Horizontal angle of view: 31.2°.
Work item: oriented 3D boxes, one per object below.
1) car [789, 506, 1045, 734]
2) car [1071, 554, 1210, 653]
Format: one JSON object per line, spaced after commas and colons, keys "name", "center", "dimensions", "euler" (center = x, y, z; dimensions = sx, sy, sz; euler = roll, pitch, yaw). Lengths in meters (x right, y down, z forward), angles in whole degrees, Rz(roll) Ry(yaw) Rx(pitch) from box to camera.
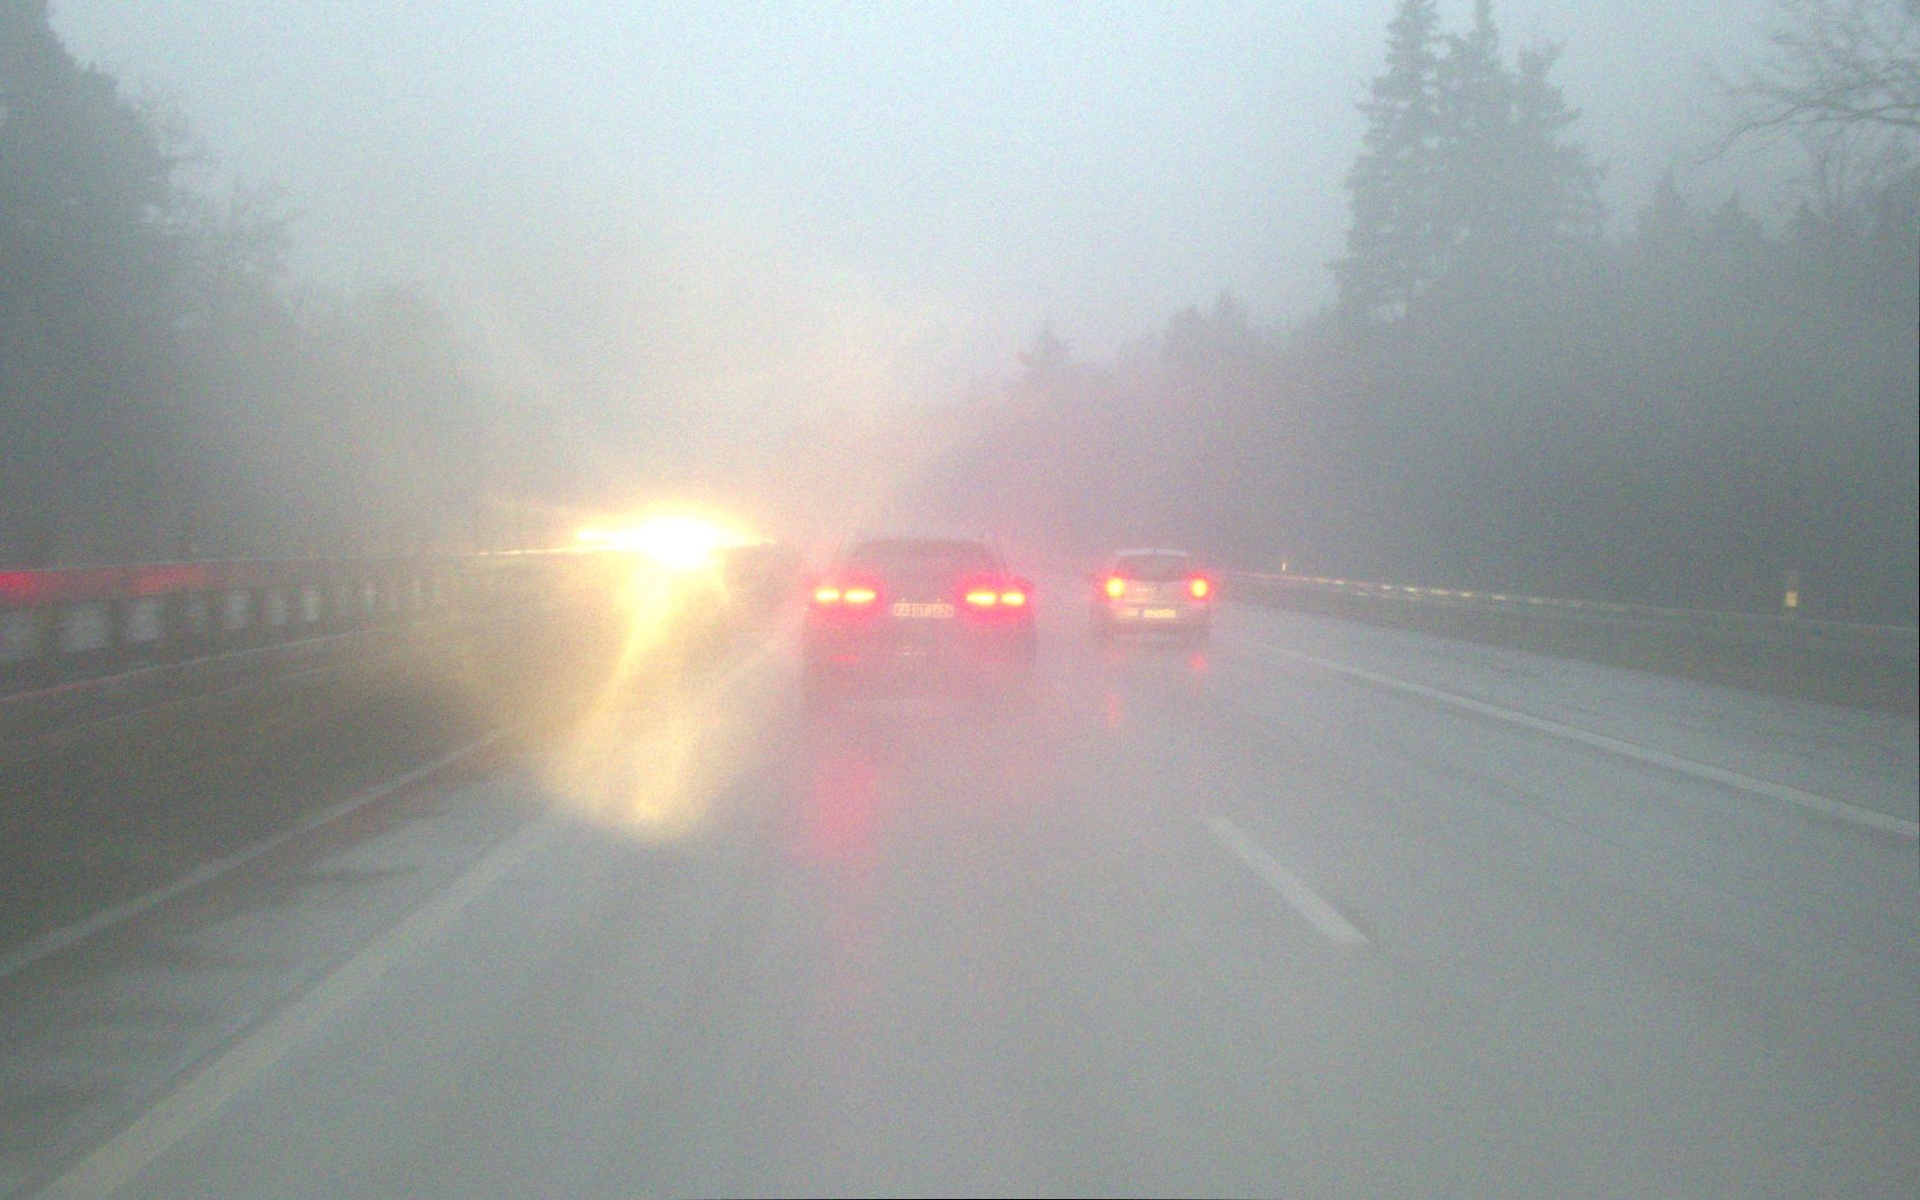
{"name": "car", "center": [-0.373, 0.113, 28.873], "dimensions": [1.986, 1.761, 4.174], "euler": [0, 1, -1]}
{"name": "car", "center": [2.745, 0.026, 52.942], "dimensions": [1.780, 1.432, 3.538], "euler": [1, 1, -3]}
